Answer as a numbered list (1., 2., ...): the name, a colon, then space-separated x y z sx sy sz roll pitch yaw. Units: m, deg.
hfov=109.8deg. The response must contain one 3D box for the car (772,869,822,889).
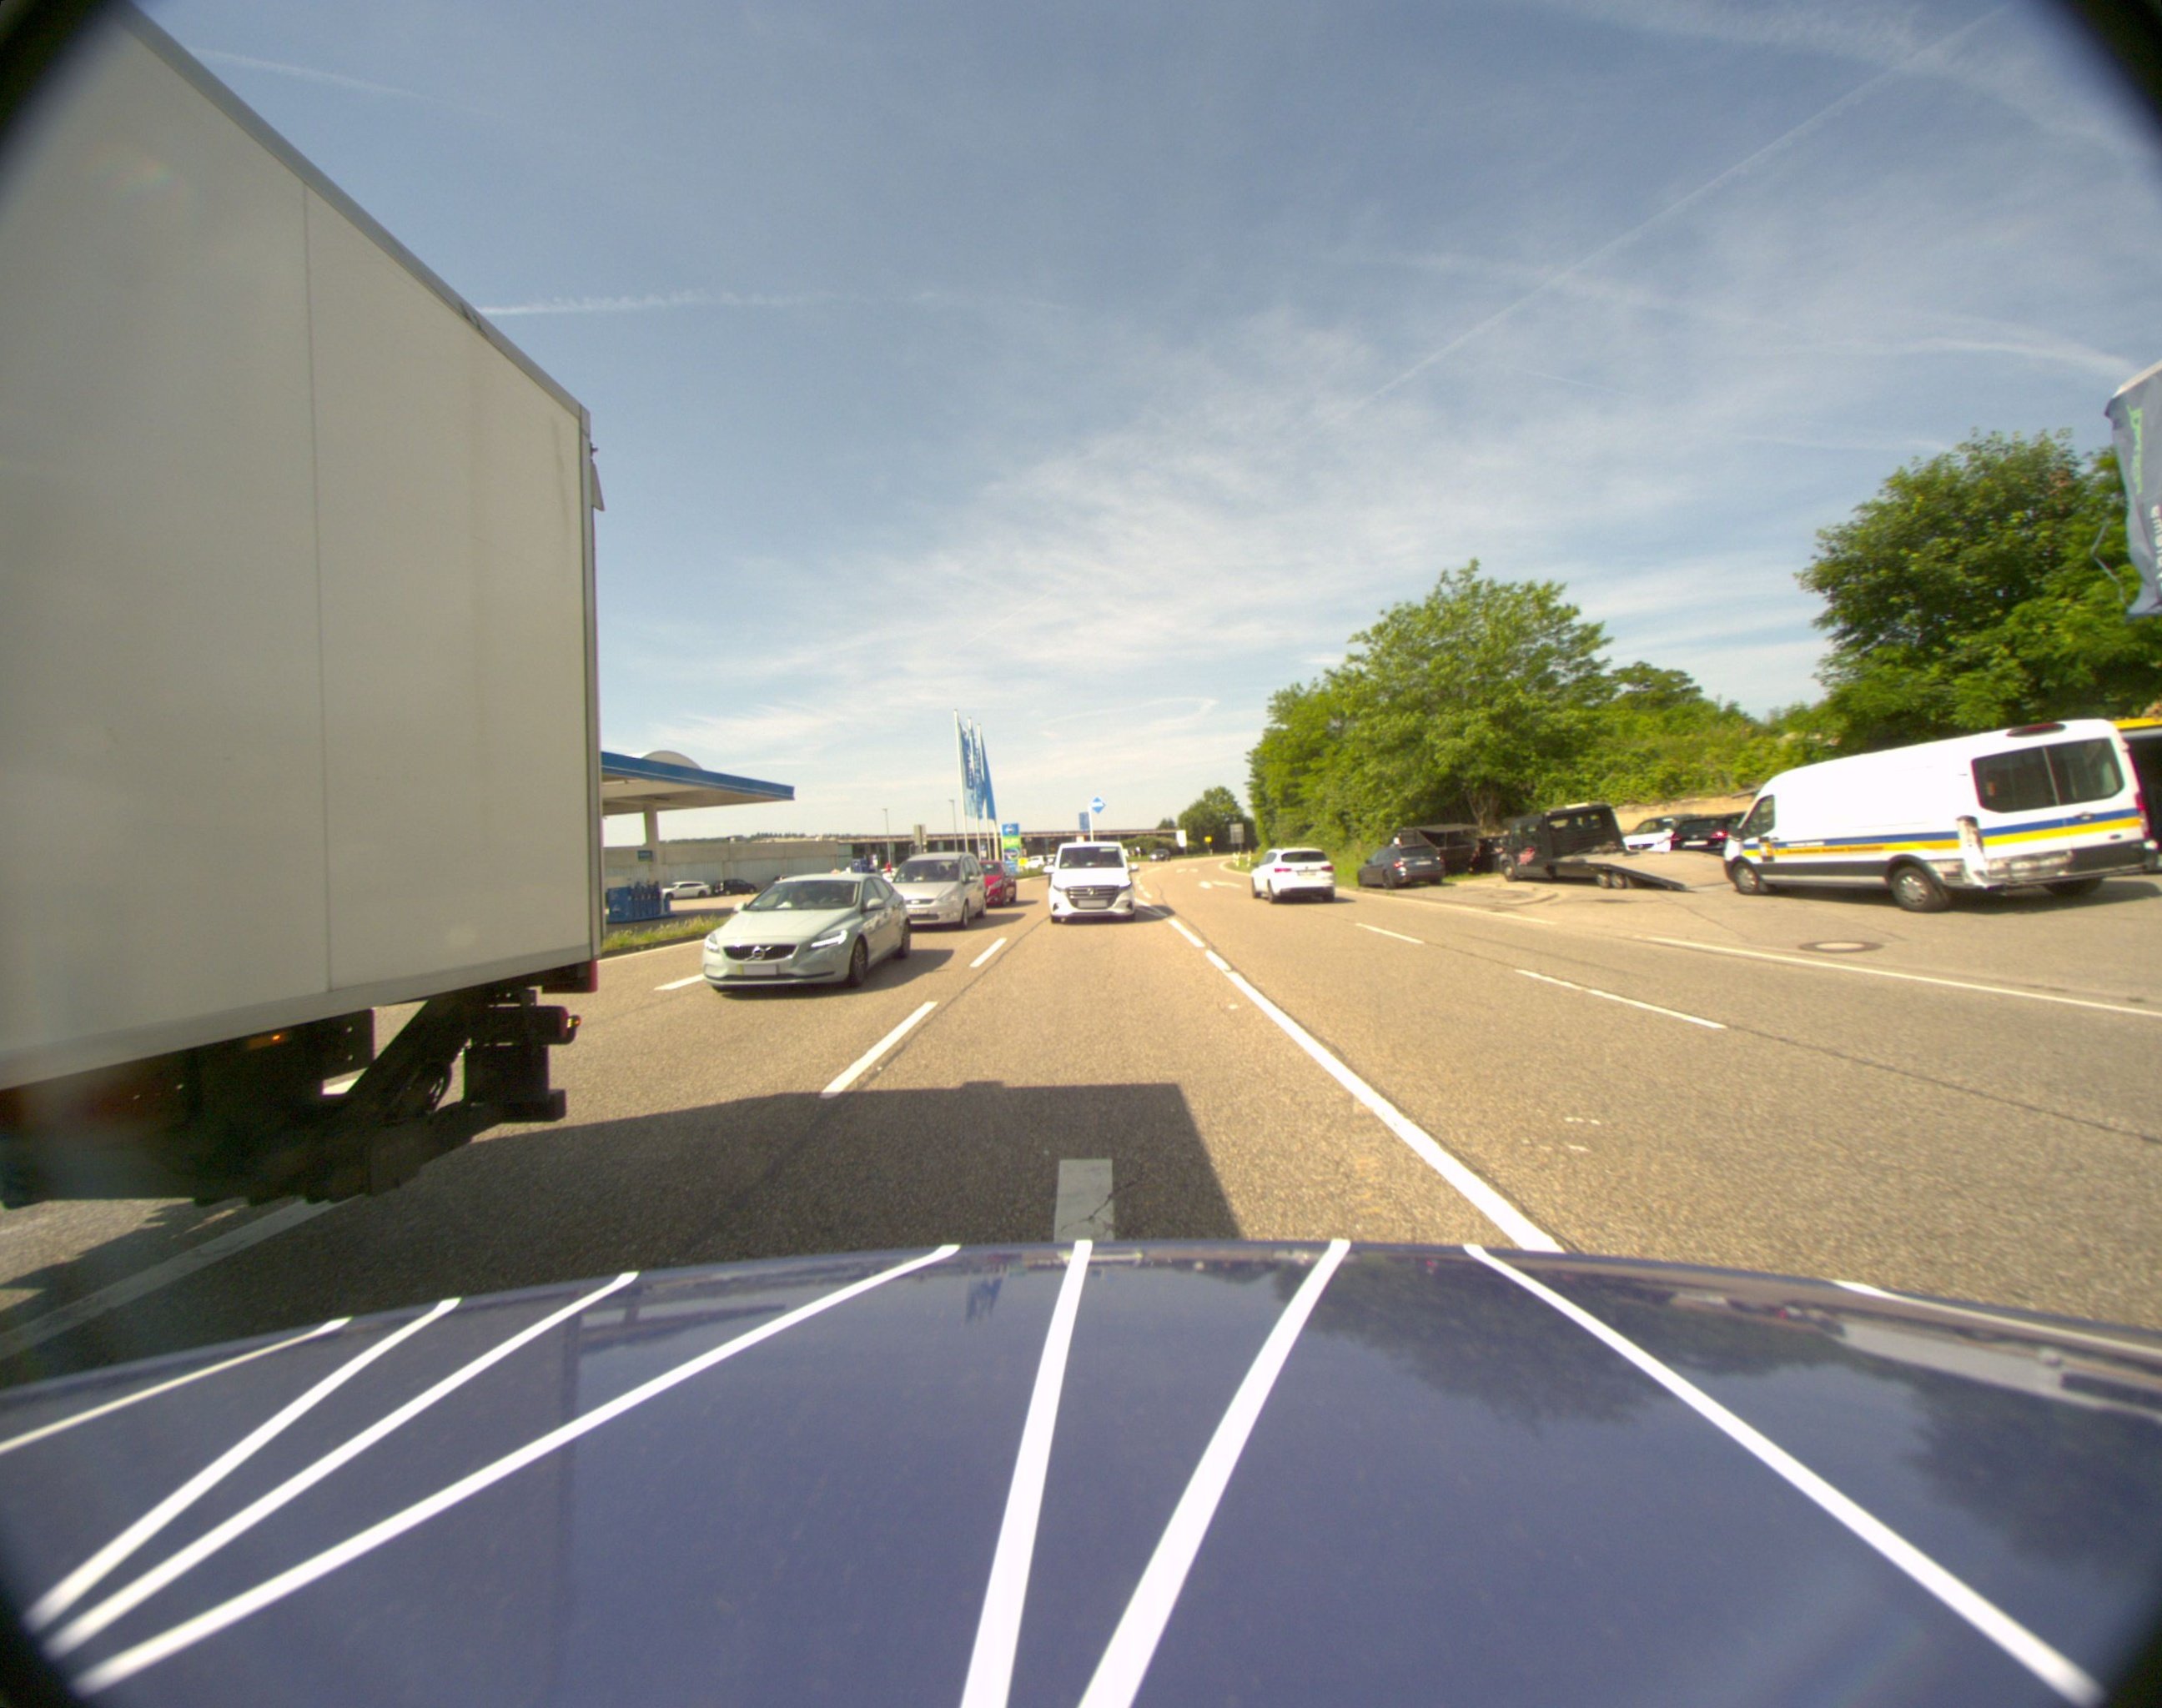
1. car: -27.092 2.355 72.498 1.885 1.595 4.028 -3 1 36

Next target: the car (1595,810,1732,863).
1. car: 18.746 -0.560 24.493 3.674 1.460 1.737 -4 0 -19

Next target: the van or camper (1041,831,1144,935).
1. van or camper: 0.350 0.570 18.127 1.998 2.002 5.290 -3 0 3

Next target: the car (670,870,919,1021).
1. car: -3.559 1.040 10.357 1.740 1.420 4.224 -3 0 0

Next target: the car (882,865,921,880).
1. car: -19.441 1.998 82.159 4.035 1.449 1.826 -3 -1 33

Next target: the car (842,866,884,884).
1. car: -22.176 2.092 77.133 4.011 1.595 1.894 -3 1 35

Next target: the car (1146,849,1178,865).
1. car: 9.735 0.368 91.227 1.864 1.632 4.429 -3 1 33

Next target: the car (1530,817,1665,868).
1. car: 17.757 -0.378 26.193 3.671 1.502 1.715 -4 0 -11

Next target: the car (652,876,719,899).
1. car: -32.755 2.751 63.001 1.886 1.595 4.538 -3 1 29

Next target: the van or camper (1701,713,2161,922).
1. van or camper: 13.601 -0.507 12.835 2.158 2.484 5.954 -7 0 12

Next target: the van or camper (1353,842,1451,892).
1. van or camper: 11.064 0.395 26.546 1.643 1.515 4.468 -4 0 3

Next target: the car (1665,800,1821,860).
1. car: 18.899 -0.684 21.728 3.674 1.460 1.737 -4 0 -19

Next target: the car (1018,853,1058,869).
1. car: -4.976 0.774 88.661 4.248 1.628 1.825 -3 -1 27

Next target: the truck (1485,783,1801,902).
1. truck: 14.451 -0.283 20.801 2.336 2.283 8.804 -8 0 4

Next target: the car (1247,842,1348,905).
1. car: 6.298 0.533 22.608 1.940 1.664 4.000 -1 0 2

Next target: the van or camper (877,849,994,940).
1. van or camper: -3.302 0.823 18.234 1.751 1.777 5.132 -3 0 0

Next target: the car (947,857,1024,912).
1. car: -2.989 0.923 24.518 1.805 1.563 3.714 -2 0 3

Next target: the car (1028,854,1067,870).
1. car: -4.026 0.926 90.376 4.248 1.628 1.825 -3 -1 27

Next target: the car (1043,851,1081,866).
1. car: -2.331 0.530 92.618 4.248 1.628 1.825 -3 -1 27

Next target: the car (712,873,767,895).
1. car: -30.271 2.659 67.403 1.885 1.595 4.028 -3 1 32

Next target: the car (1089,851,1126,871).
1. car: 2.510 0.602 70.001 1.865 1.632 4.427 -3 0 22

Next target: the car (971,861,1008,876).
1. car: -11.354 1.835 94.179 4.454 1.628 1.826 -3 -1 33
